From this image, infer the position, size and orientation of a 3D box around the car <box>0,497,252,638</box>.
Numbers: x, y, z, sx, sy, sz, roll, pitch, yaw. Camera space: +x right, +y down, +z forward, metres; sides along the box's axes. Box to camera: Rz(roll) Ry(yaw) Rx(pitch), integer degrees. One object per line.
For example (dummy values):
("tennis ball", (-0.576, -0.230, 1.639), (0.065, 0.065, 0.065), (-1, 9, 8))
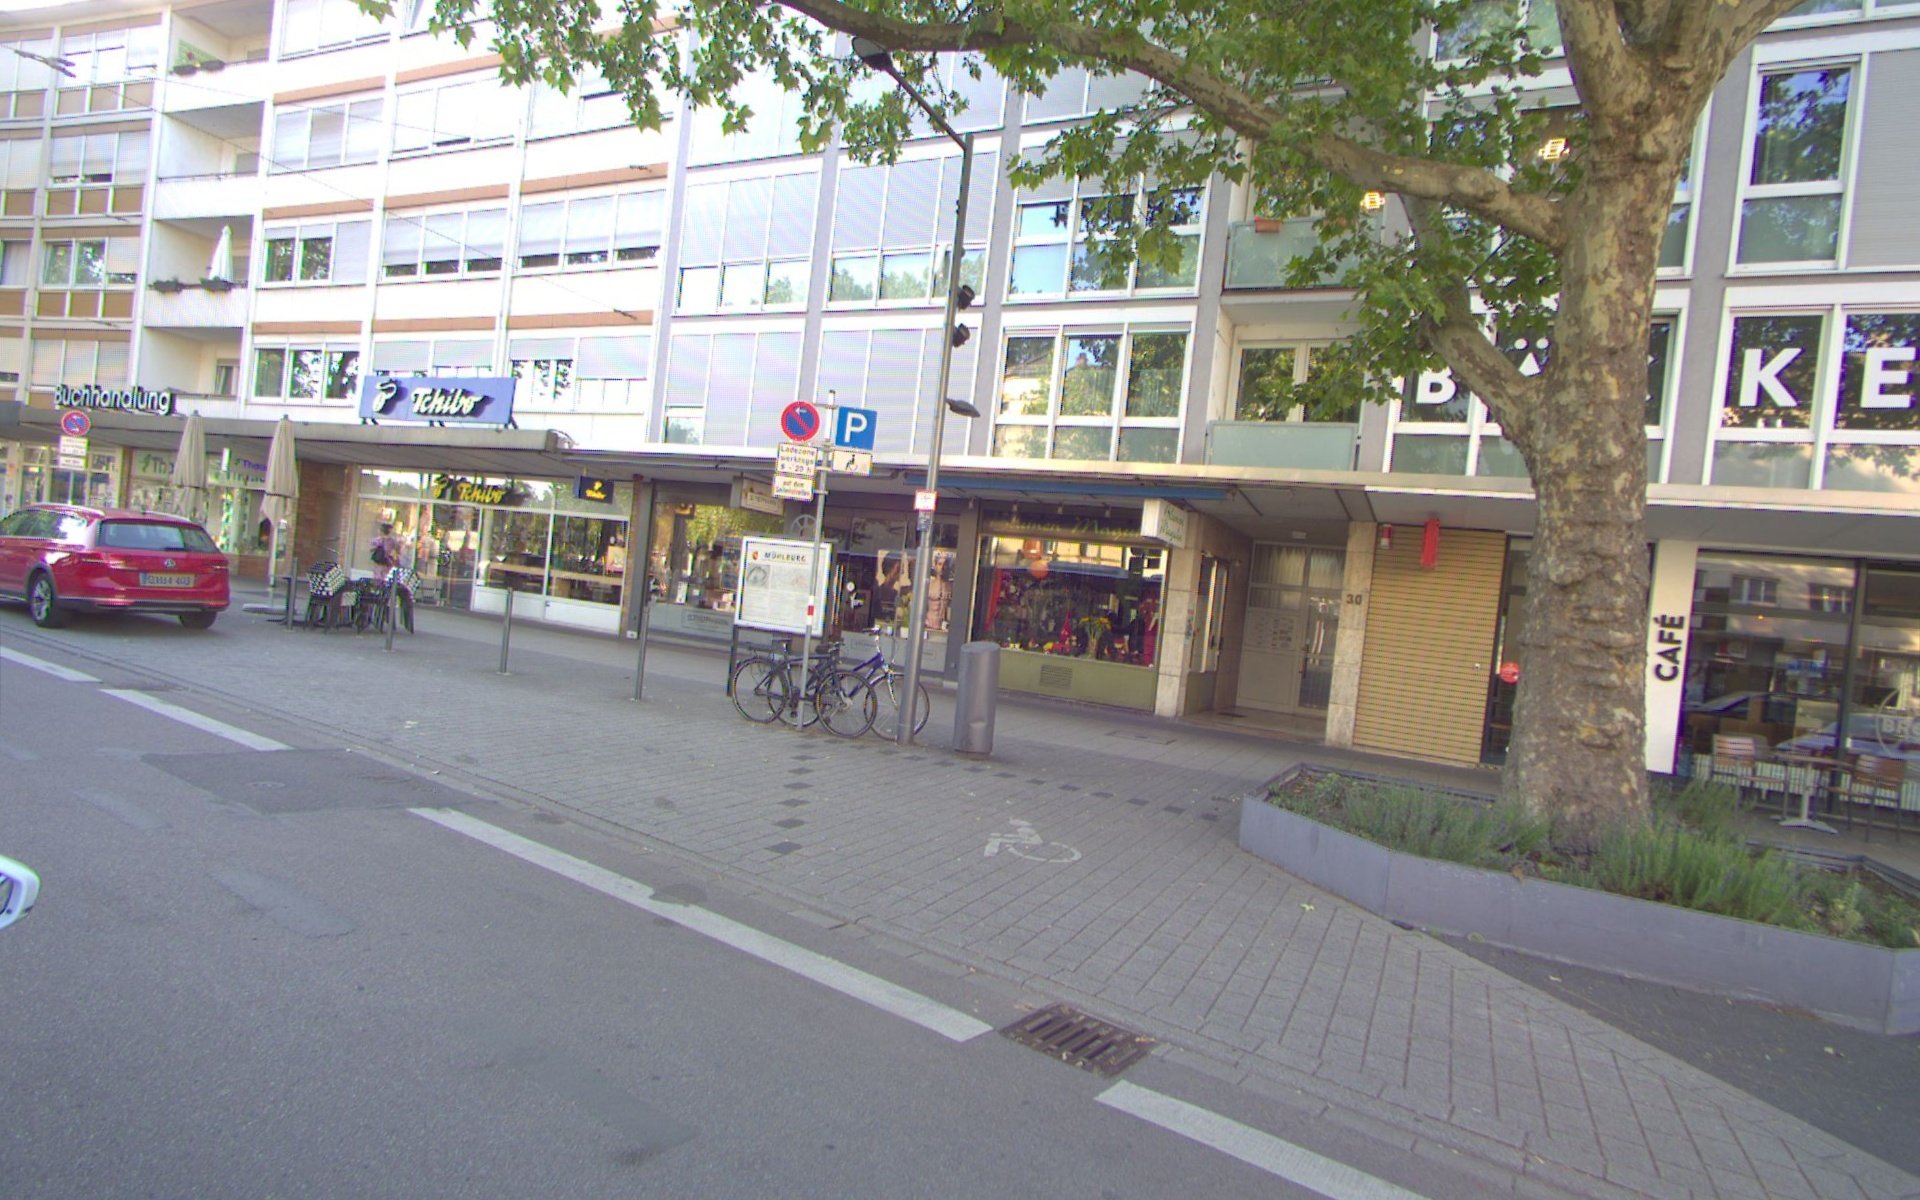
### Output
("car", (-11.635, -0.492, 13.451), (4.229, 1.502, 1.772), (6, 1, 28))

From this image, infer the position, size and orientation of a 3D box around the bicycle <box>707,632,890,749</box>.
("bicycle", (-1.645, 0.898, 10.237), (1.743, 0.951, 0.391), (6, 2, 12))

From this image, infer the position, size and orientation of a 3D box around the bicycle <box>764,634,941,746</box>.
("bicycle", (-1.127, 0.926, 10.551), (1.743, 0.931, 0.391), (6, 2, 12))

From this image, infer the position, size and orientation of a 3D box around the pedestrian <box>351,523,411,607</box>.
("pedestrian", (-11.737, -0.697, 20.393), (0.776, 1.613, 0.651), (7, 2, 26))
